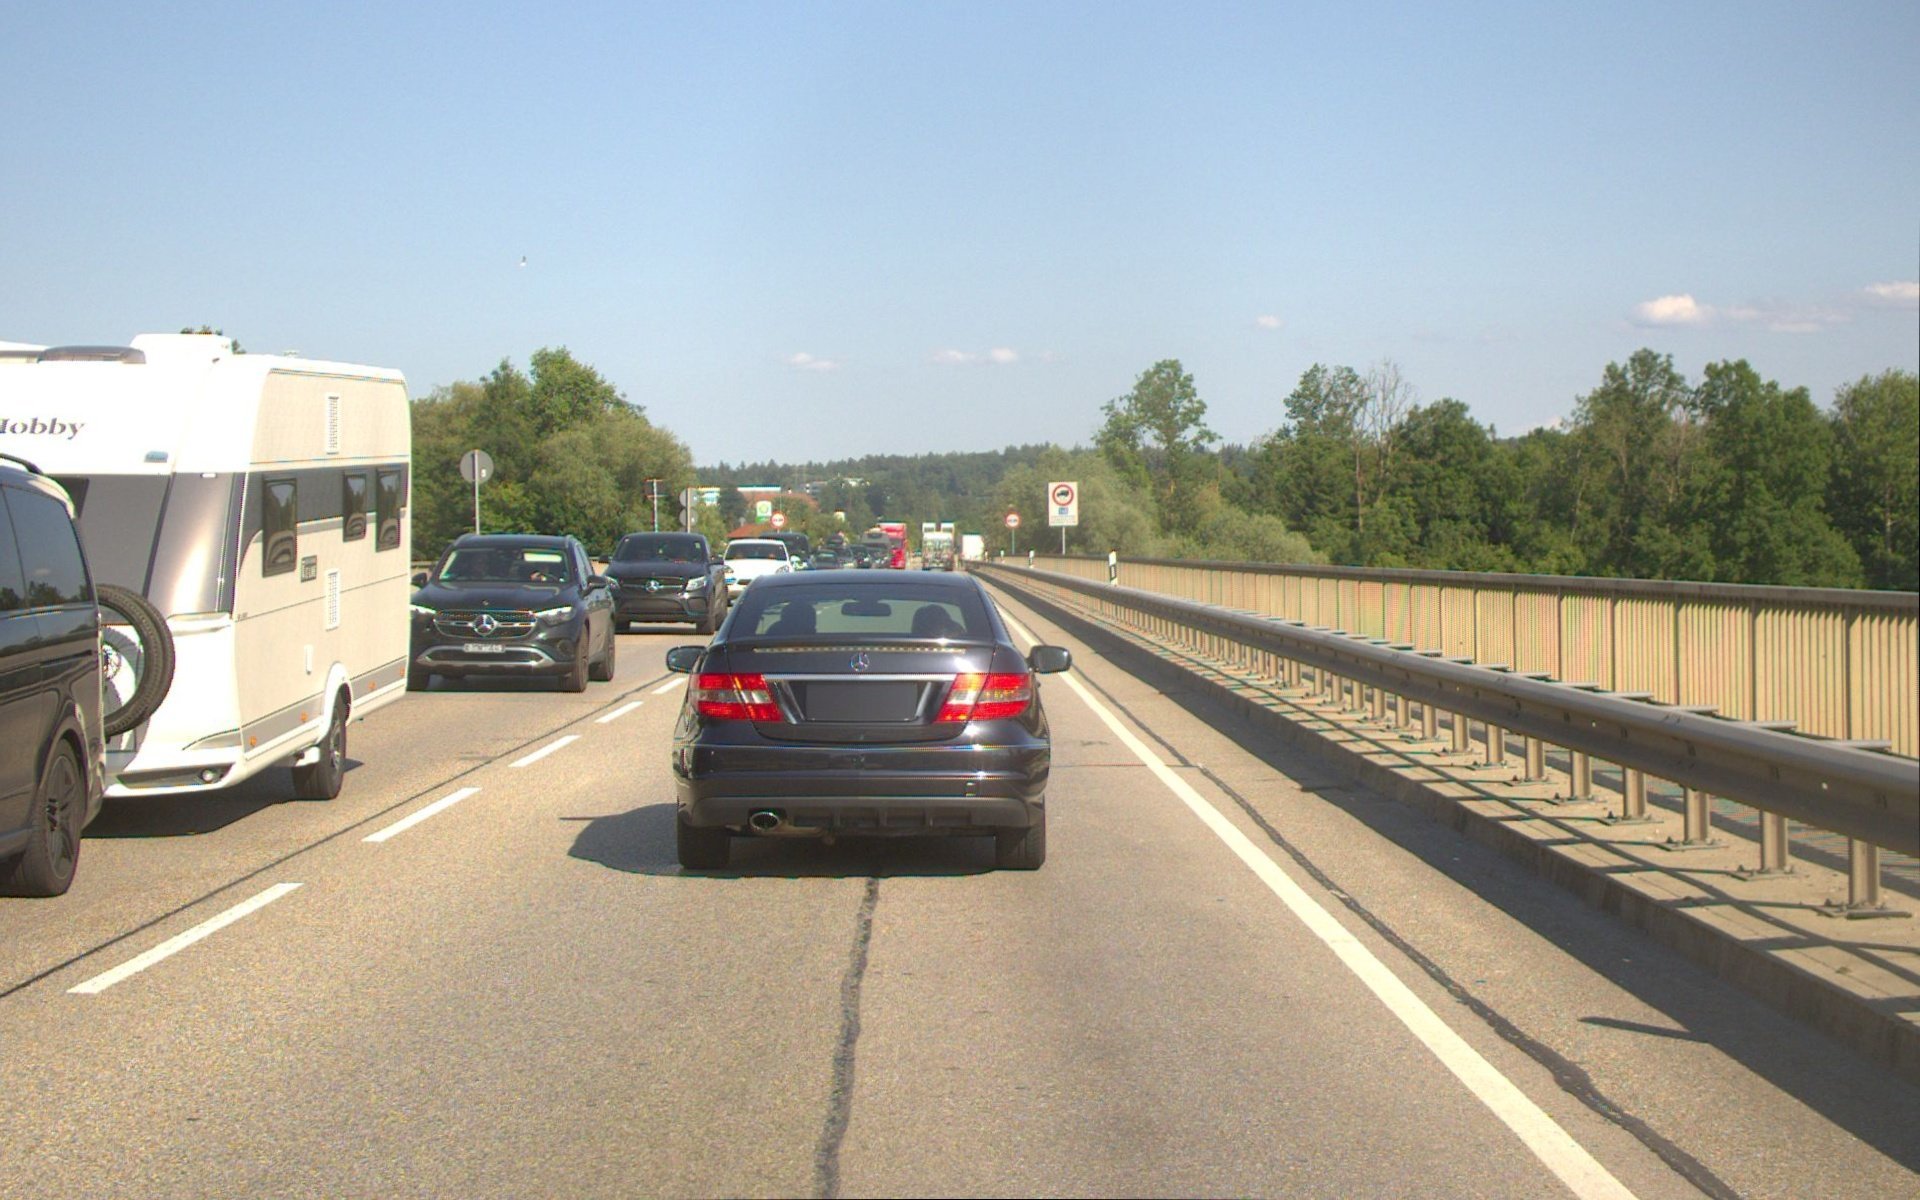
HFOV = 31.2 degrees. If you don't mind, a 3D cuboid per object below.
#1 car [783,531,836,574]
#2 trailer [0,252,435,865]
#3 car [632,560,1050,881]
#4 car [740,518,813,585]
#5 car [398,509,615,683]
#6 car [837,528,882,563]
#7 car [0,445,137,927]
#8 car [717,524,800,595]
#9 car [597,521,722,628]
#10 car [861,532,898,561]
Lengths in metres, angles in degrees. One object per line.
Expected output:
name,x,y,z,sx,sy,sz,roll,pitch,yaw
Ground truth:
car,-5.271,-1.668,120.067,1.765,1.442,4.457,0,1,-4
trailer,-4.856,-0.267,19.365,2.555,2.728,8.063,0,1,0
car,-0.518,0.498,16.810,1.793,1.371,4.000,0,1,0
car,-5.483,-1.469,102.433,2.037,1.867,5.071,2,1,-3
car,-4.701,-0.086,36.166,1.802,1.655,4.434,2,1,-2
car,-5.113,-2.767,174.273,2.053,1.647,4.722,2,1,-4
car,-4.679,0.334,12.834,1.983,1.848,5.008,0,1,0
car,-5.049,-1.045,86.137,1.983,1.645,4.598,2,1,-3
car,-5.065,-0.467,58.482,1.949,1.688,4.477,2,1,-3
car,-4.445,-2.940,189.036,1.806,1.572,4.202,1,1,-4
